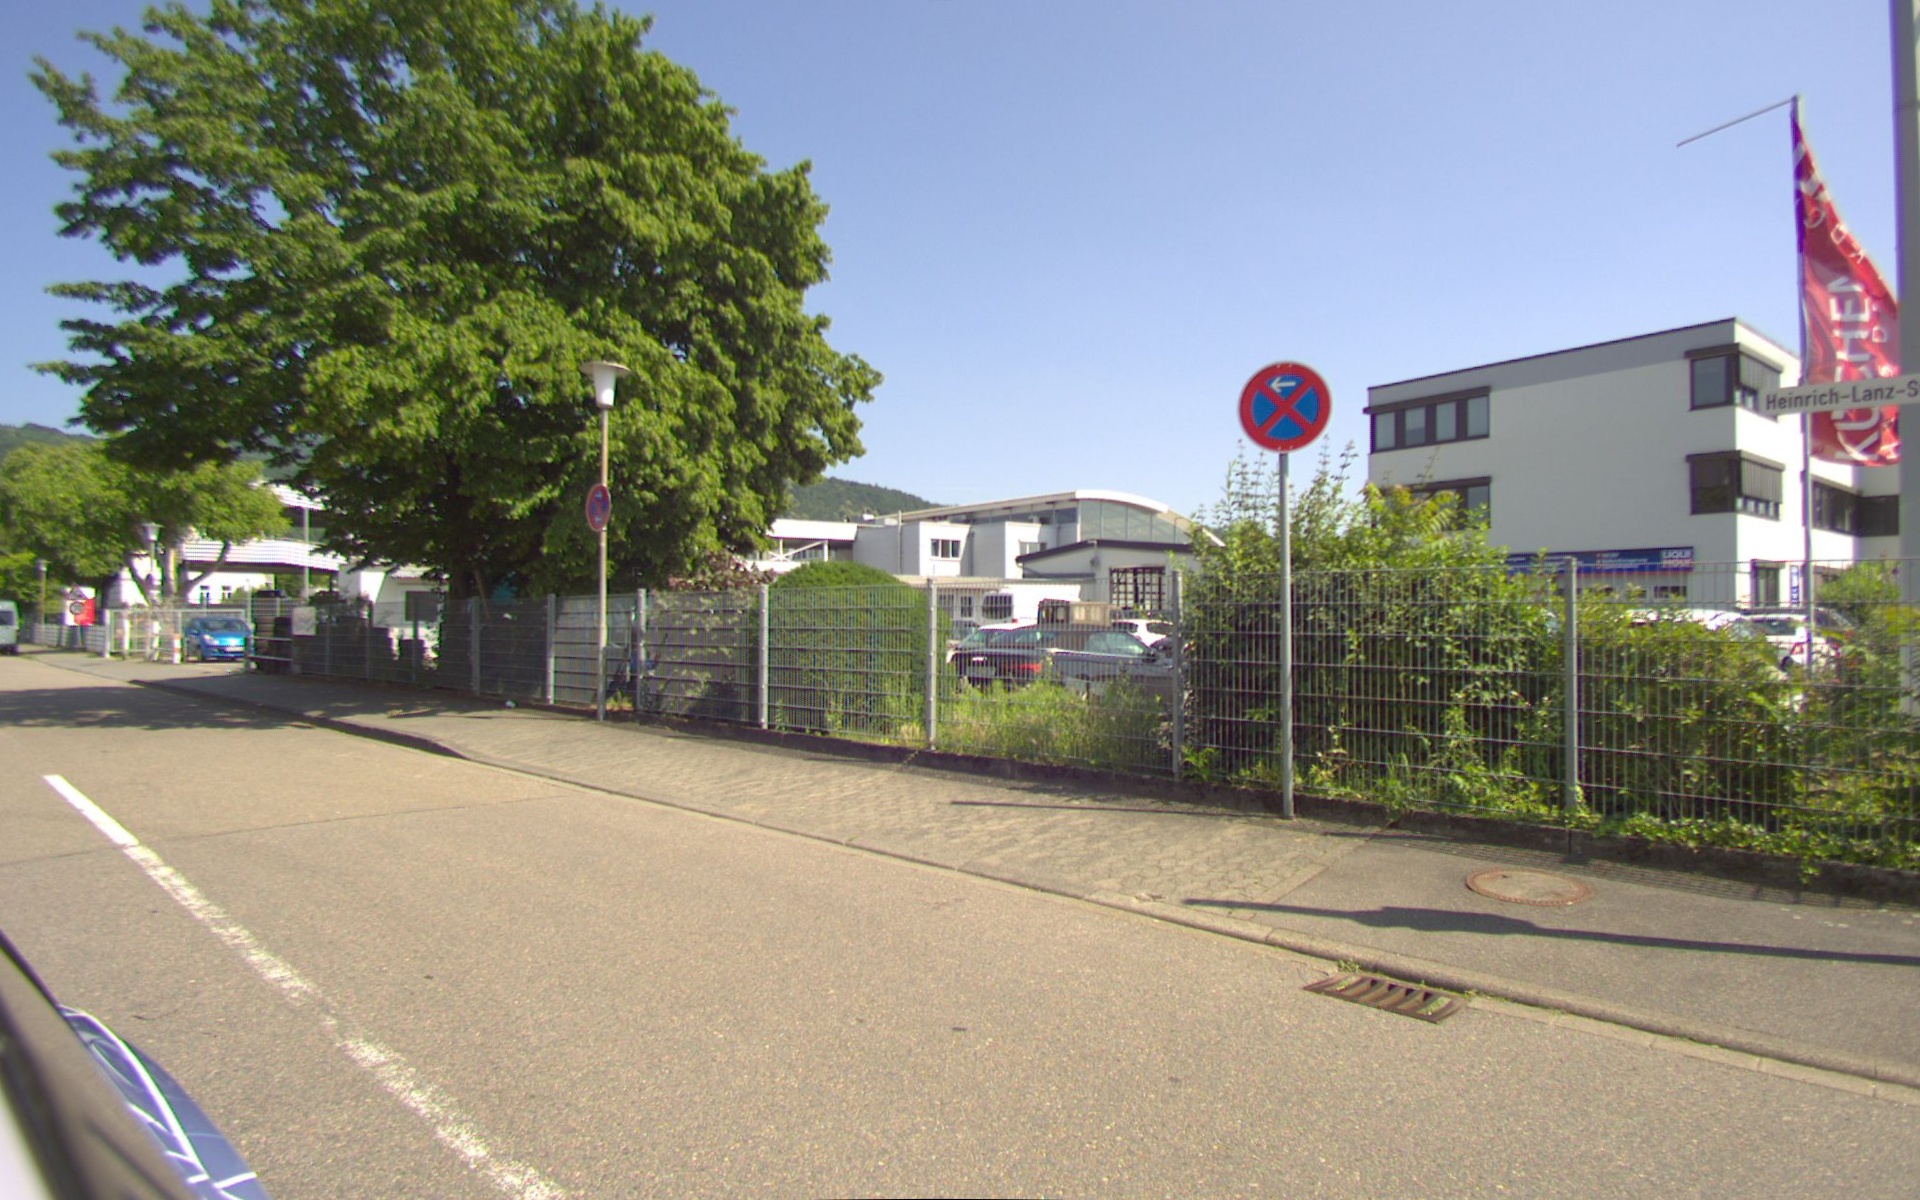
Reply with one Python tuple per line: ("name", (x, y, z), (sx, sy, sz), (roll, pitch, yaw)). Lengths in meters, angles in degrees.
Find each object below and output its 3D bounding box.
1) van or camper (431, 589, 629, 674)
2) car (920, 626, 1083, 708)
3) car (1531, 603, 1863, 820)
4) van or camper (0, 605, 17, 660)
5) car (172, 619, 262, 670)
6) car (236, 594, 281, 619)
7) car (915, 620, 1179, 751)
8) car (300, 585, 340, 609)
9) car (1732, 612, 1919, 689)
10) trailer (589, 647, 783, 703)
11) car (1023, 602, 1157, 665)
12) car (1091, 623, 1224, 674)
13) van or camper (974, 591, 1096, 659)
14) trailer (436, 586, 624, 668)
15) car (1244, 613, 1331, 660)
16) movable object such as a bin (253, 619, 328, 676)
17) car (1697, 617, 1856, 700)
("van or camper", (-10.612, 0.707, 25.178), (1.775, 1.877, 4.136), (-1, 1, 44))
("car", (0.863, 1.270, 20.150), (1.653, 1.484, 3.035), (-1, -2, 44))
("car", (6.498, 0.806, 8.749), (3.896, 1.444, 1.714), (2, -2, -45))
("van or camper", (-43.214, 1.392, 44.578), (4.684, 2.395, 2.001), (-1, -2, 42))
("car", (-24.302, 1.409, 33.070), (3.524, 1.469, 1.623), (-1, 1, 41))
("car", (-41.761, 0.412, 60.323), (1.680, 1.469, 3.536), (1, -2, -27))
("car", (1.323, 1.069, 14.062), (1.855, 1.553, 3.786), (-1, -2, 39))
("car", (-39.748, -0.188, 62.931), (1.680, 1.469, 3.537), (-1, 1, -26))
("car", (21.457, 1.183, 24.577), (1.970, 1.719, 4.004), (1, -2, -43))
("trailer", (-5.213, 1.390, 19.467), (1.613, 0.946, 3.245), (-2, -3, 44))
("car", (4.501, 1.120, 34.746), (4.507, 2.029, 2.062), (1, -2, -39))
("car", (6.557, 1.561, 33.401), (4.354, 1.569, 1.995), (1, -2, -39))
("van or camper", (2.786, 0.875, 36.793), (4.531, 2.323, 1.784), (1, -1, -41))
("trailer", (-12.695, 0.716, 30.108), (2.000, 2.171, 4.718), (-1, 1, 43))
("car", (13.467, 1.431, 41.482), (1.891, 1.696, 3.943), (-1, 1, 43))
("movable object such as a bin", (-17.844, 1.232, 26.958), (1.364, 1.368, 2.106), (-2, 1, -42))
("car", (16.843, 1.139, 20.826), (3.774, 1.553, 1.745), (1, -2, -39))
